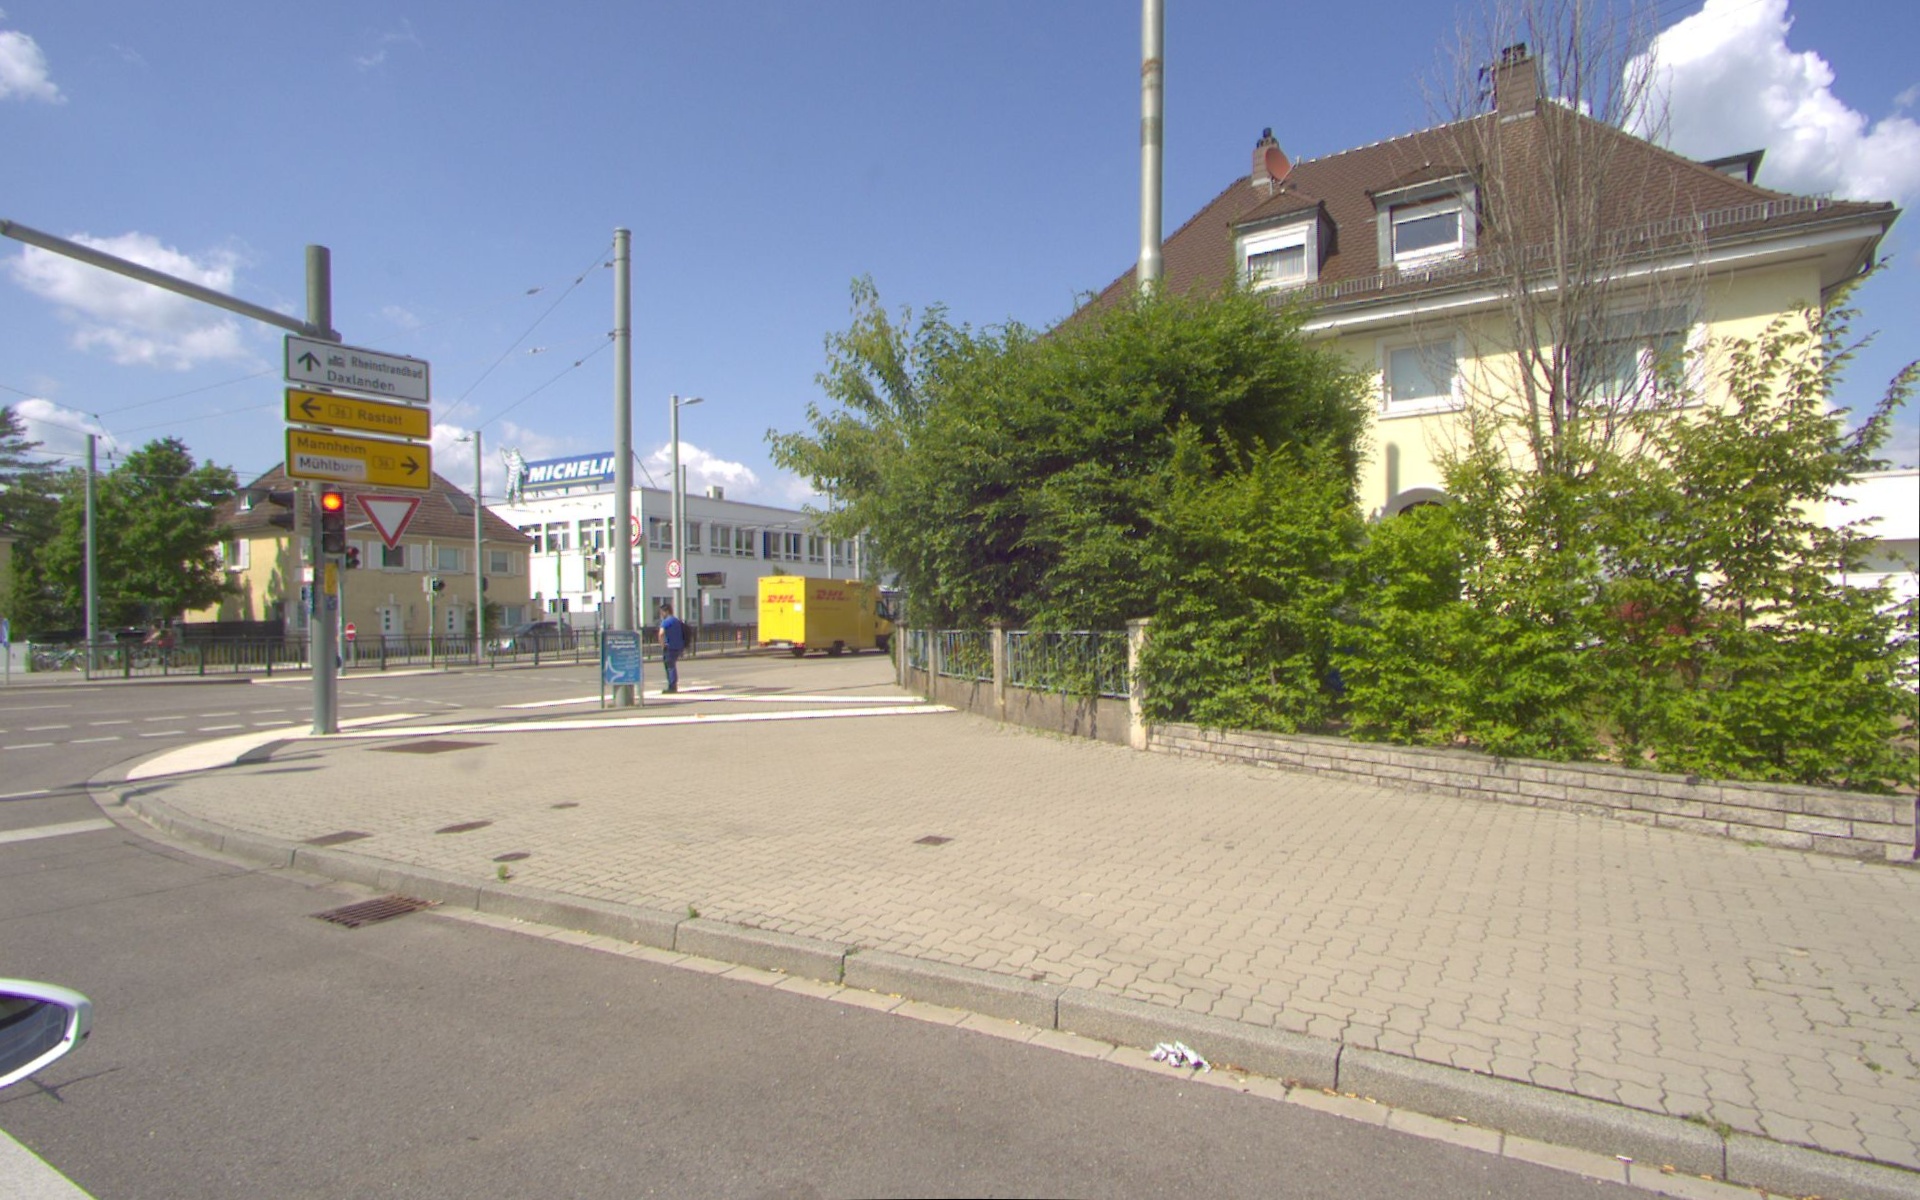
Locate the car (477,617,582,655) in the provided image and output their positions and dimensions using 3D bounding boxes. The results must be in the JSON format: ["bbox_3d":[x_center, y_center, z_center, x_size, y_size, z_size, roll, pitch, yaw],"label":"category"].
[{"bbox_3d":[-18.998,1.564,44.339,1.815,1.589,3.981,-1,-1,30],"label":"car"}]

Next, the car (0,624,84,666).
[{"bbox_3d":[-39.403,1.920,42.460,3.934,1.641,1.823,-3,-1,23],"label":"car"}]

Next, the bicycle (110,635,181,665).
[{"bbox_3d":[-31.754,1.928,39.074,2.000,1.116,0.713,-1,-1,-23],"label":"bicycle"}]

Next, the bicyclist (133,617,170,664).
[{"bbox_3d":[-31.807,1.598,39.424,0.944,1.798,0.717,-1,-1,-23],"label":"bicyclist"}]

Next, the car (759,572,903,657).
[{"bbox_3d":[-4.746,0.561,38.171,2.033,2.966,6.564,-1,-1,28],"label":"car"}]

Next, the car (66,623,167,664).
[{"bbox_3d":[-37.609,1.949,44.647,3.934,1.641,1.823,-3,-1,23],"label":"car"}]

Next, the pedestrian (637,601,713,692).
[{"bbox_3d":[-5.697,0.914,20.032,1.025,1.757,1.028,-1,0,29],"label":"pedestrian"}]

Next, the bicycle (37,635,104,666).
[{"bbox_3d":[-33.907,1.908,38.198,1.777,1.119,0.701,-1,-1,-19],"label":"bicycle"}]
